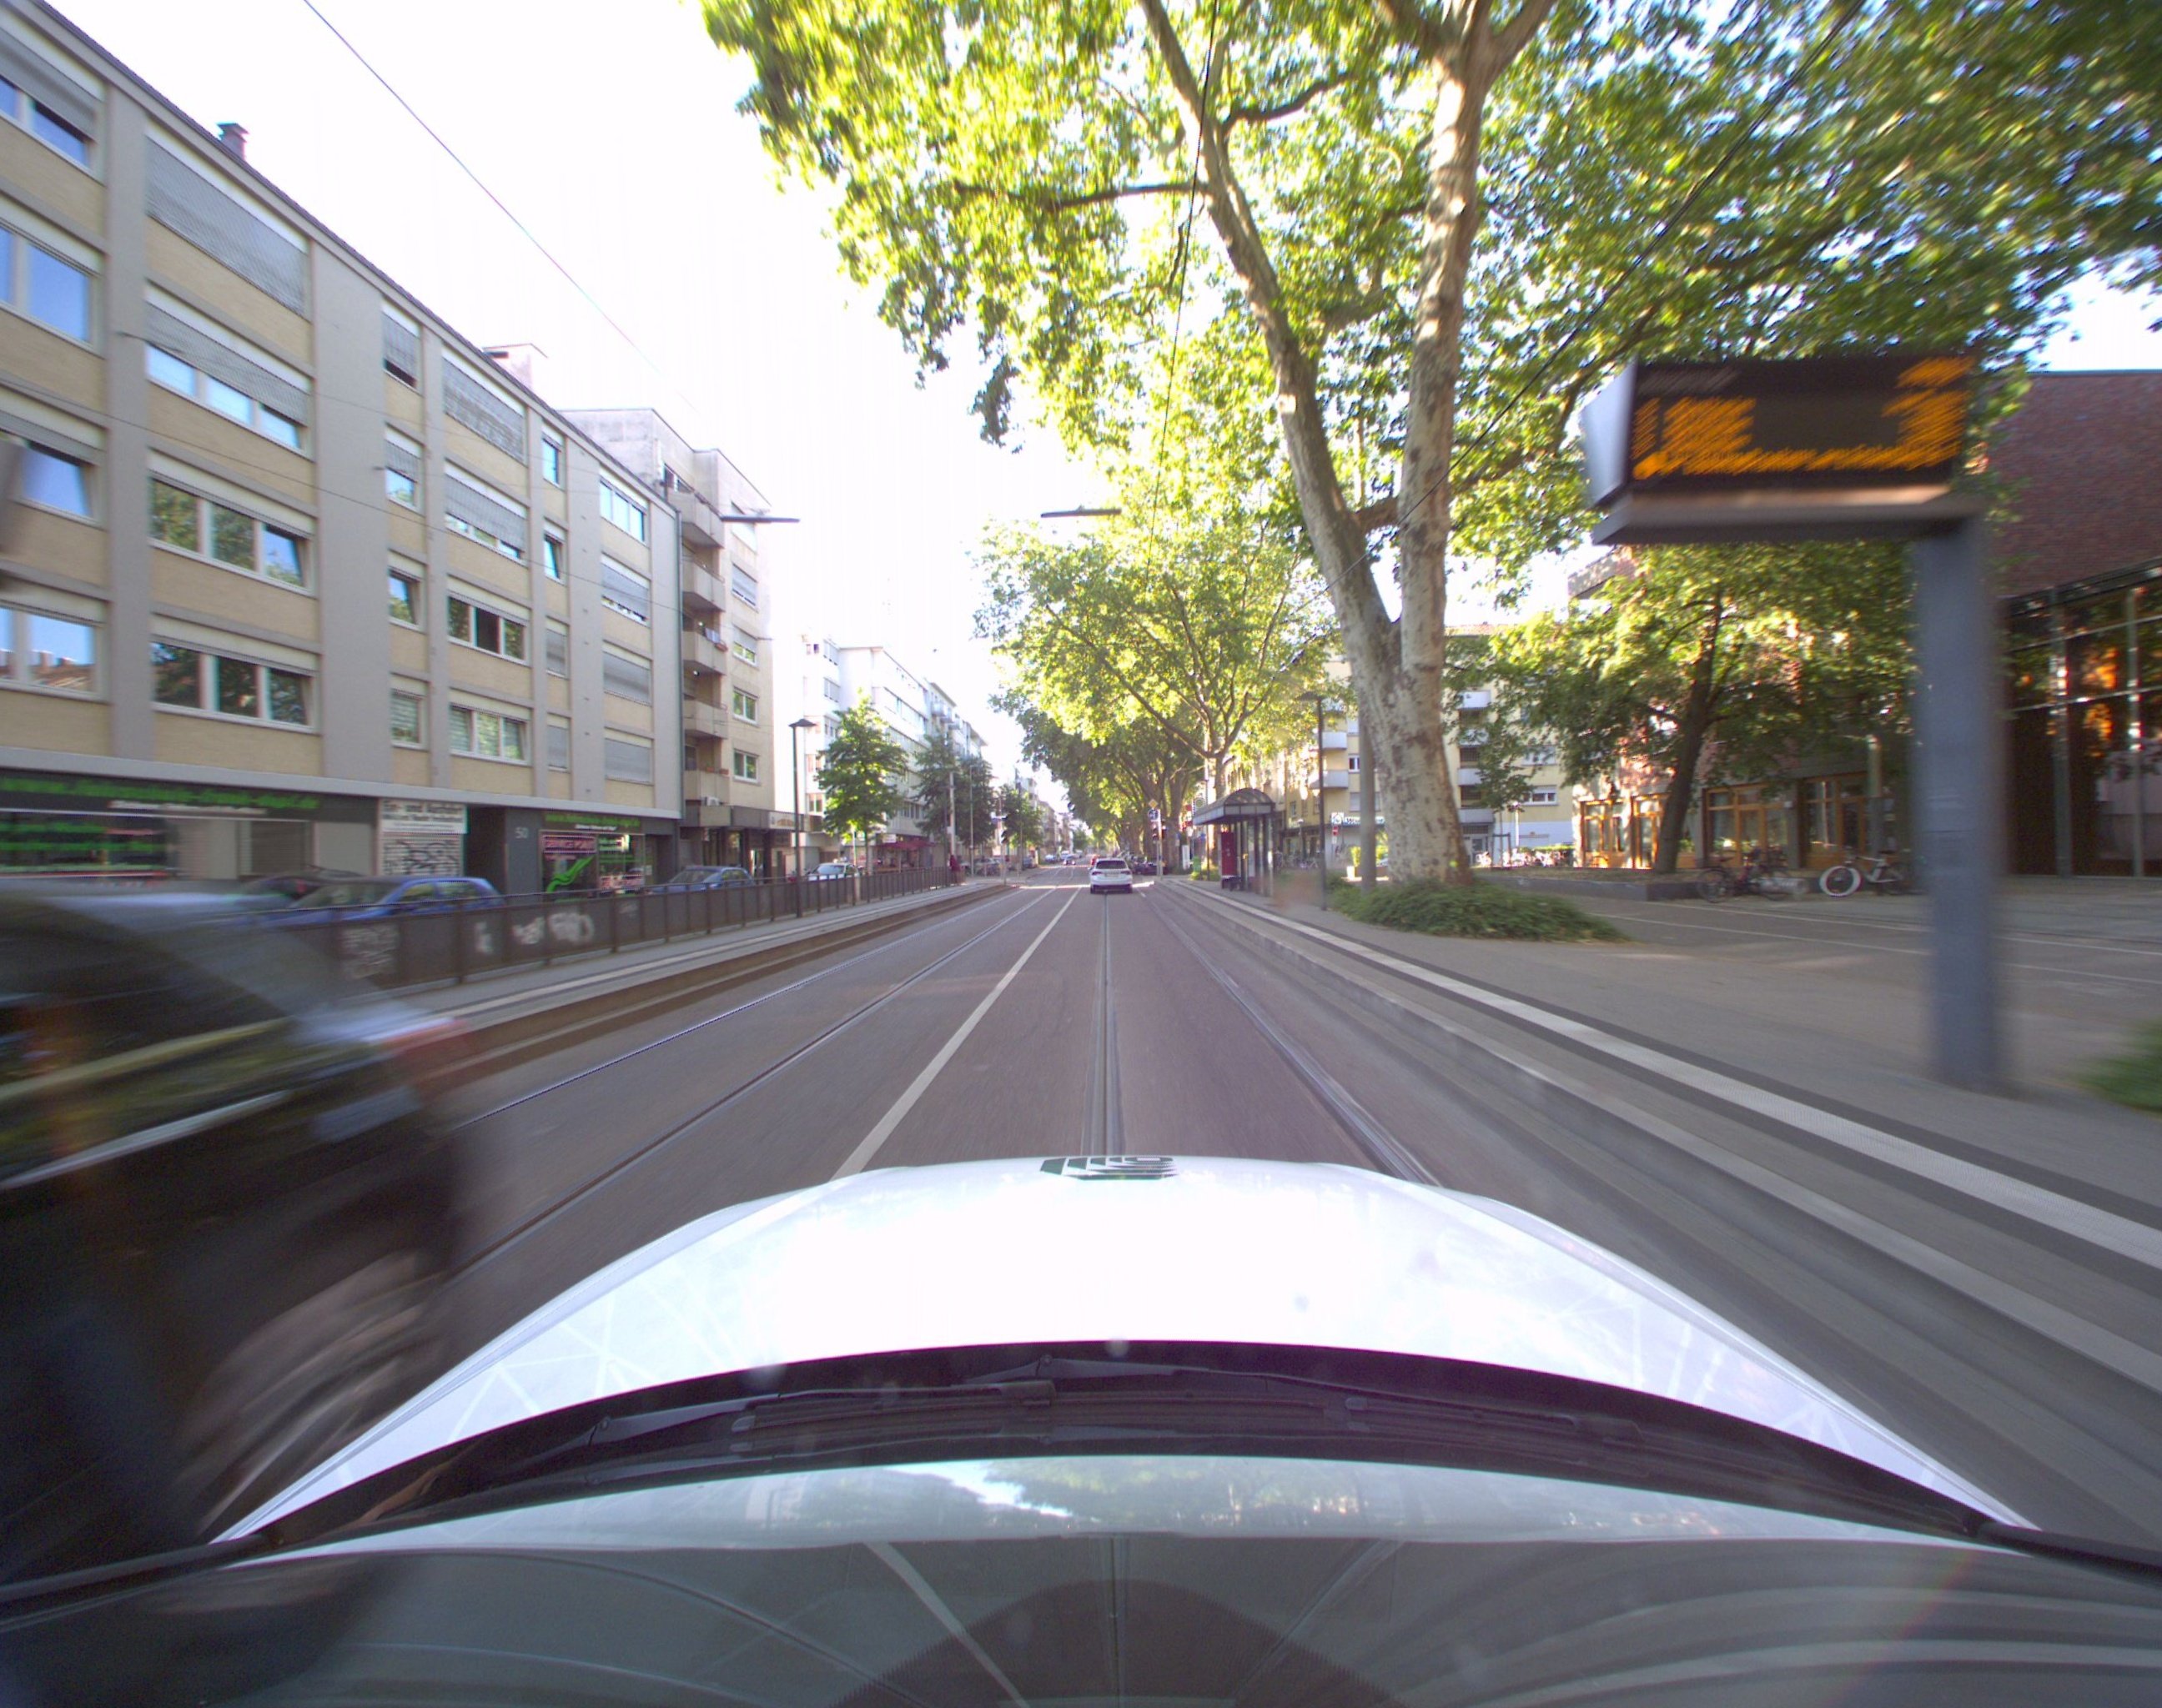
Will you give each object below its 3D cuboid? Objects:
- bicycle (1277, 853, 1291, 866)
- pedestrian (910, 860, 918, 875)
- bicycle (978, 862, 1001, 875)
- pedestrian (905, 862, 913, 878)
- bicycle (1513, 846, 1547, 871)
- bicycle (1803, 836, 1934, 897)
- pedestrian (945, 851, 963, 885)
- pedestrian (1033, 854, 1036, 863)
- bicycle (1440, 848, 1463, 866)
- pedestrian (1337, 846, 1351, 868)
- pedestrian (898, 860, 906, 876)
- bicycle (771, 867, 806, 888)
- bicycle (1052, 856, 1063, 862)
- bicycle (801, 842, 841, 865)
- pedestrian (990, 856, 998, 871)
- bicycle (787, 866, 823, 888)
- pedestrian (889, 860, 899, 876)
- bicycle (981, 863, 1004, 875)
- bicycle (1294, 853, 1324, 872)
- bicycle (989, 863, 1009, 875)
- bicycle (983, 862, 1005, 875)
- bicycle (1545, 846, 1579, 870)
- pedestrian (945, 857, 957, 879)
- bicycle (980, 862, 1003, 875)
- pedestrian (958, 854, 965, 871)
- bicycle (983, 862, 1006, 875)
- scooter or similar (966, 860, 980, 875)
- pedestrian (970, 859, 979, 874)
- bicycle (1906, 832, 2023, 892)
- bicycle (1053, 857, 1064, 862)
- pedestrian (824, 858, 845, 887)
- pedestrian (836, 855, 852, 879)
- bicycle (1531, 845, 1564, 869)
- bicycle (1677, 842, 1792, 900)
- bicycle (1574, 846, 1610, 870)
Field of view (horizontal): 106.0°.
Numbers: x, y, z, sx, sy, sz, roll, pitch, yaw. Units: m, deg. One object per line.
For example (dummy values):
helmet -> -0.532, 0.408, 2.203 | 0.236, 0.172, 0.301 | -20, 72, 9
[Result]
bicycle -> 16.726, 0.432, 66.980 | 0.569, 0.997, 1.778 | -3, 0, -3
pedestrian -> -13.712, 1.105, 66.915 | 0.514, 1.198, 0.558 | -2, 0, -28
bicycle -> -7.475, 1.204, 66.530 | 1.825, 1.007, 0.657 | 0, -1, -4
pedestrian -> -13.656, 1.251, 64.665 | 0.509, 1.198, 0.564 | -2, 0, 3
bicycle -> 22.664, 0.225, 41.183 | 0.659, 1.156, 1.851 | -3, 0, 1
bicycle -> 16.665, 0.257, 17.266 | 2.020, 1.156, 0.573 | -3, 0, 6
pedestrian -> -5.967, 0.655, 38.385 | 0.651, 1.585, 0.773 | -2, 0, 2
pedestrian -> -9.430, 0.970, 164.850 | 0.661, 1.826, 0.965 | -1, 0, 0
bicycle -> 26.054, 0.186, 57.254 | 1.704, 1.156, 0.595 | -3, 0, -33
pedestrian -> 18.249, 0.208, 56.488 | 0.694, 1.539, 0.695 | -2, 0, 42
pedestrian -> -13.842, 1.068, 62.980 | 0.512, 1.198, 0.561 | -2, 0, -15
bicycle -> -16.777, 1.344, 46.727 | 1.772, 1.156, 0.574 | -2, 0, 12
bicycle -> -5.350, 1.184, 187.678 | 2.545, 1.172, 0.873 | 2, -2, -38
bicycle -> -14.079, -0.019, 44.093 | 2.038, 1.156, 0.568 | -2, 0, -21
pedestrian -> -9.893, 1.036, 92.228 | 0.761, 1.691, 0.794 | -1, 0, 0
bicycle -> -15.546, 1.291, 45.884 | 1.849, 1.156, 0.573 | -2, 0, 5
pedestrian -> -14.535, 1.086, 63.341 | 0.566, 1.198, 0.508 | -2, 0, -34
bicycle -> -7.321, 1.233, 67.614 | 1.825, 1.007, 0.657 | 0, -1, -4
bicycle -> 15.262, 0.568, 54.414 | 1.798, 1.156, 0.740 | -3, 0, -21
bicycle -> -7.035, 1.252, 70.096 | 1.687, 1.007, 0.657 | 0, -1, -4
bicycle -> -6.970, 1.157, 65.038 | 1.687, 1.007, 0.657 | 0, -1, -4
bicycle -> 24.234, 0.210, 41.037 | 0.659, 1.156, 1.698 | -3, 0, 1
pedestrian -> -9.169, 0.992, 57.520 | 0.723, 1.556, 0.768 | -2, 0, -4
bicycle -> -7.372, 1.207, 66.969 | 1.825, 1.007, 0.657 | 0, -1, -4
pedestrian -> -12.675, 0.905, 86.444 | 0.661, 1.691, 0.748 | -1, 0, 0
bicycle -> -7.294, 1.213, 68.747 | 1.825, 1.007, 0.657 | 0, -1, -4
scooter or similar -> -8.877, 1.094, 66.979 | 1.076, 1.176, 0.498 | 0, -1, 0
pedestrian -> -9.662, 1.116, 74.162 | 0.713, 1.297, 0.744 | -2, 0, -13
bicycle -> 18.617, 0.161, 17.188 | 1.669, 1.156, 0.573 | -3, 0, 6
bicycle -> -5.262, 1.187, 188.559 | 2.520, 1.172, 0.718 | 1, -2, -5
pedestrian -> -13.416, 1.021, 44.343 | 0.718, 1.556, 0.730 | -2, 0, 24
pedestrian -> -16.983, 0.949, 58.413 | 0.742, 1.659, 0.772 | -2, 0, 14
bicycle -> 23.509, 0.150, 41.089 | 0.659, 1.156, 1.698 | -3, 0, 1
bicycle -> 14.505, 0.370, 18.110 | 2.023, 1.156, 0.572 | -3, 0, 1
bicycle -> 25.548, 0.193, 40.730 | 0.519, 1.156, 1.692 | -3, 0, -9
